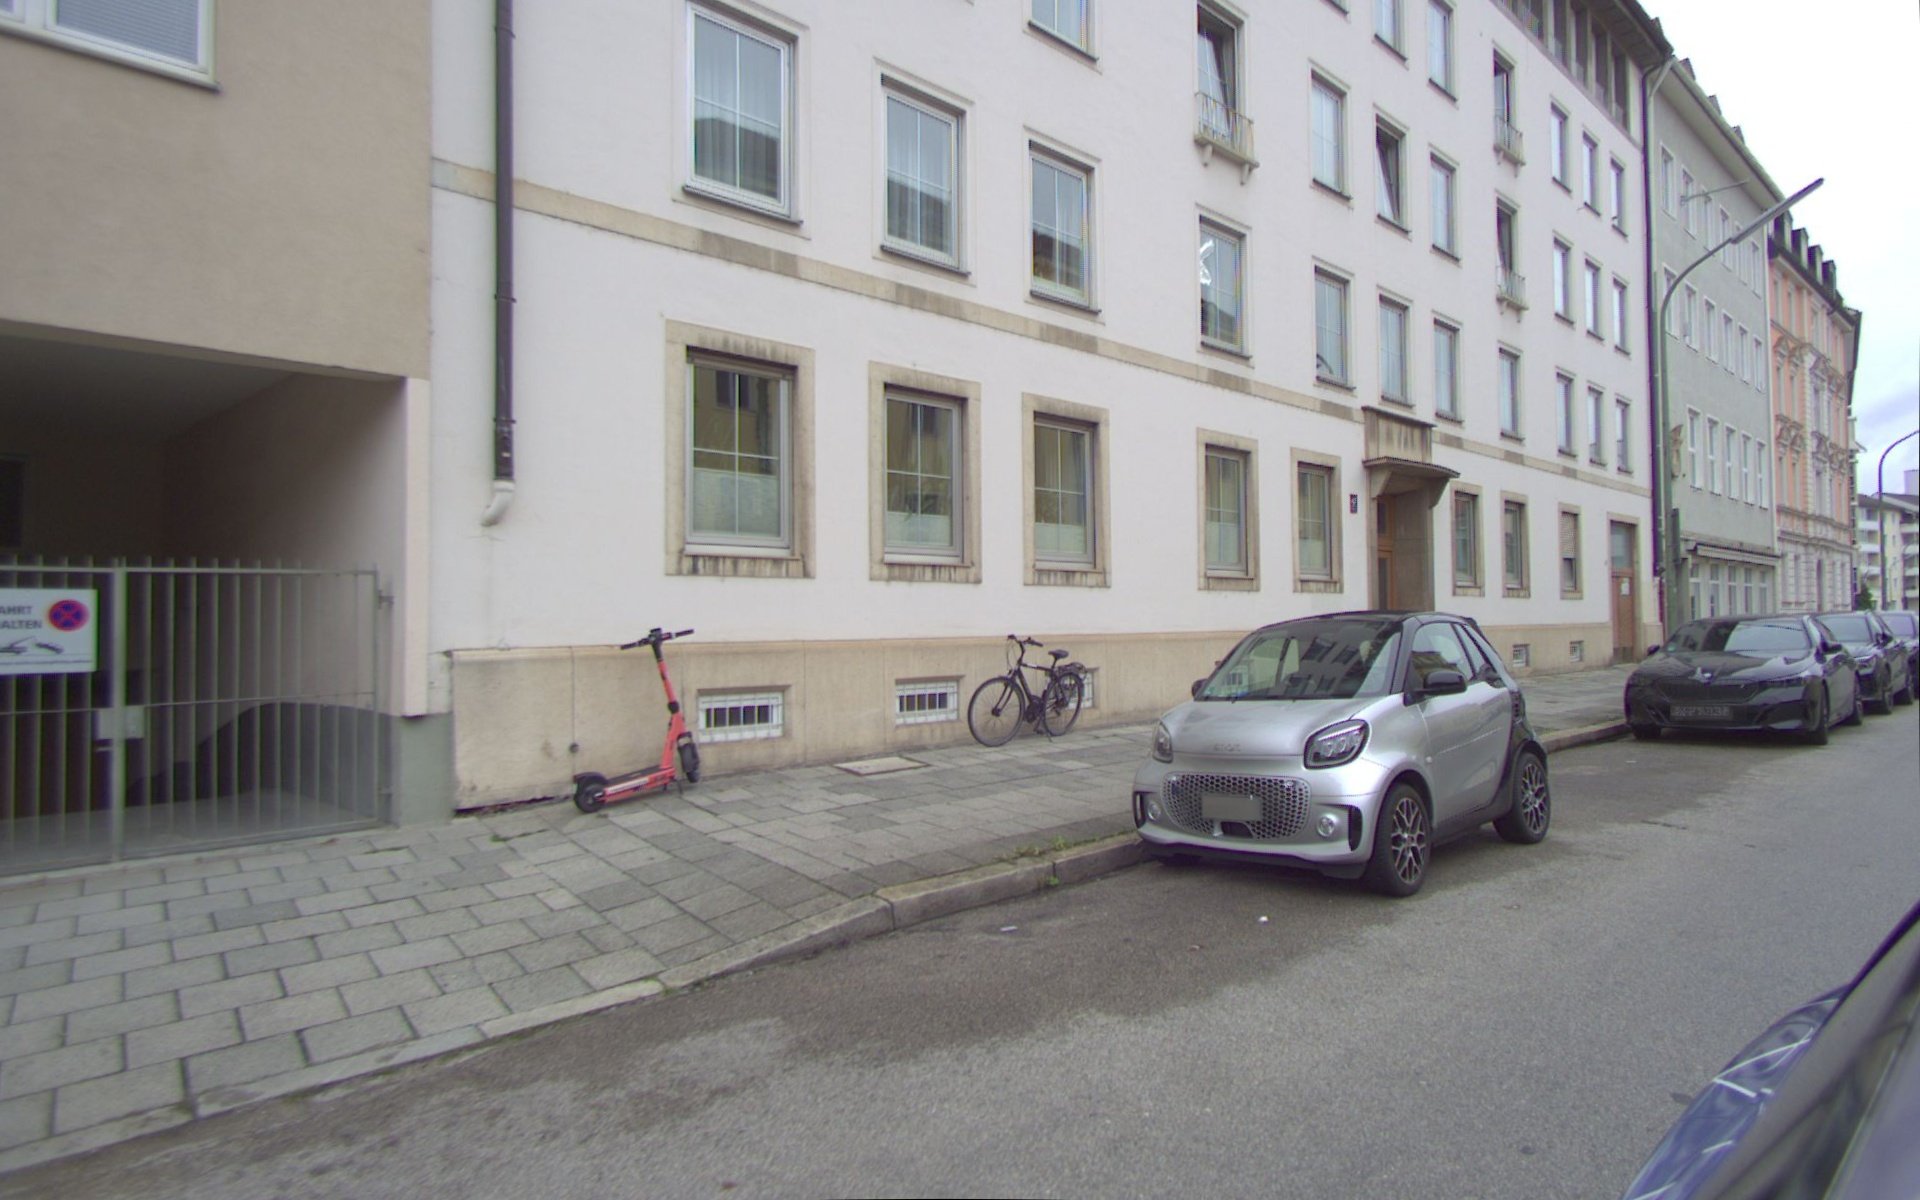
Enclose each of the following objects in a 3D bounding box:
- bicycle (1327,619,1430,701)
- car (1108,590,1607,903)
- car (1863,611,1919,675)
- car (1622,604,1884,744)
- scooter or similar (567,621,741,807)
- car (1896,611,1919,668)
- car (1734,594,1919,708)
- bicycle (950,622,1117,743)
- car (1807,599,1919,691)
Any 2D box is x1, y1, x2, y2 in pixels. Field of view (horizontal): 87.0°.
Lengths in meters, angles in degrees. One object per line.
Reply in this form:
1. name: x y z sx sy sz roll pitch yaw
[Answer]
1. bicycle: 6.221 0.854 15.001 2.005 1.093 0.598 1 1 -43
2. car: 2.735 0.799 6.704 3.320 1.537 1.616 1 -5 -40
3. car: 23.312 0.995 24.420 4.108 1.449 1.743 1 -3 -41
4. car: 10.221 0.834 12.908 4.620 1.466 1.875 1 -3 -43
5. scooter or similar: -2.331 0.815 7.738 1.076 1.291 0.730 1 -2 -41
6. car: 27.812 1.055 28.385 3.930 1.561 1.766 1 -4 -41
7. car: 14.314 0.772 16.428 4.411 1.602 1.830 1 -3 -40
8. bicycle: 0.790 0.799 10.438 1.805 1.105 0.630 1 1 -42
9. car: 18.036 0.824 19.498 4.411 1.602 1.830 1 -3 -40
